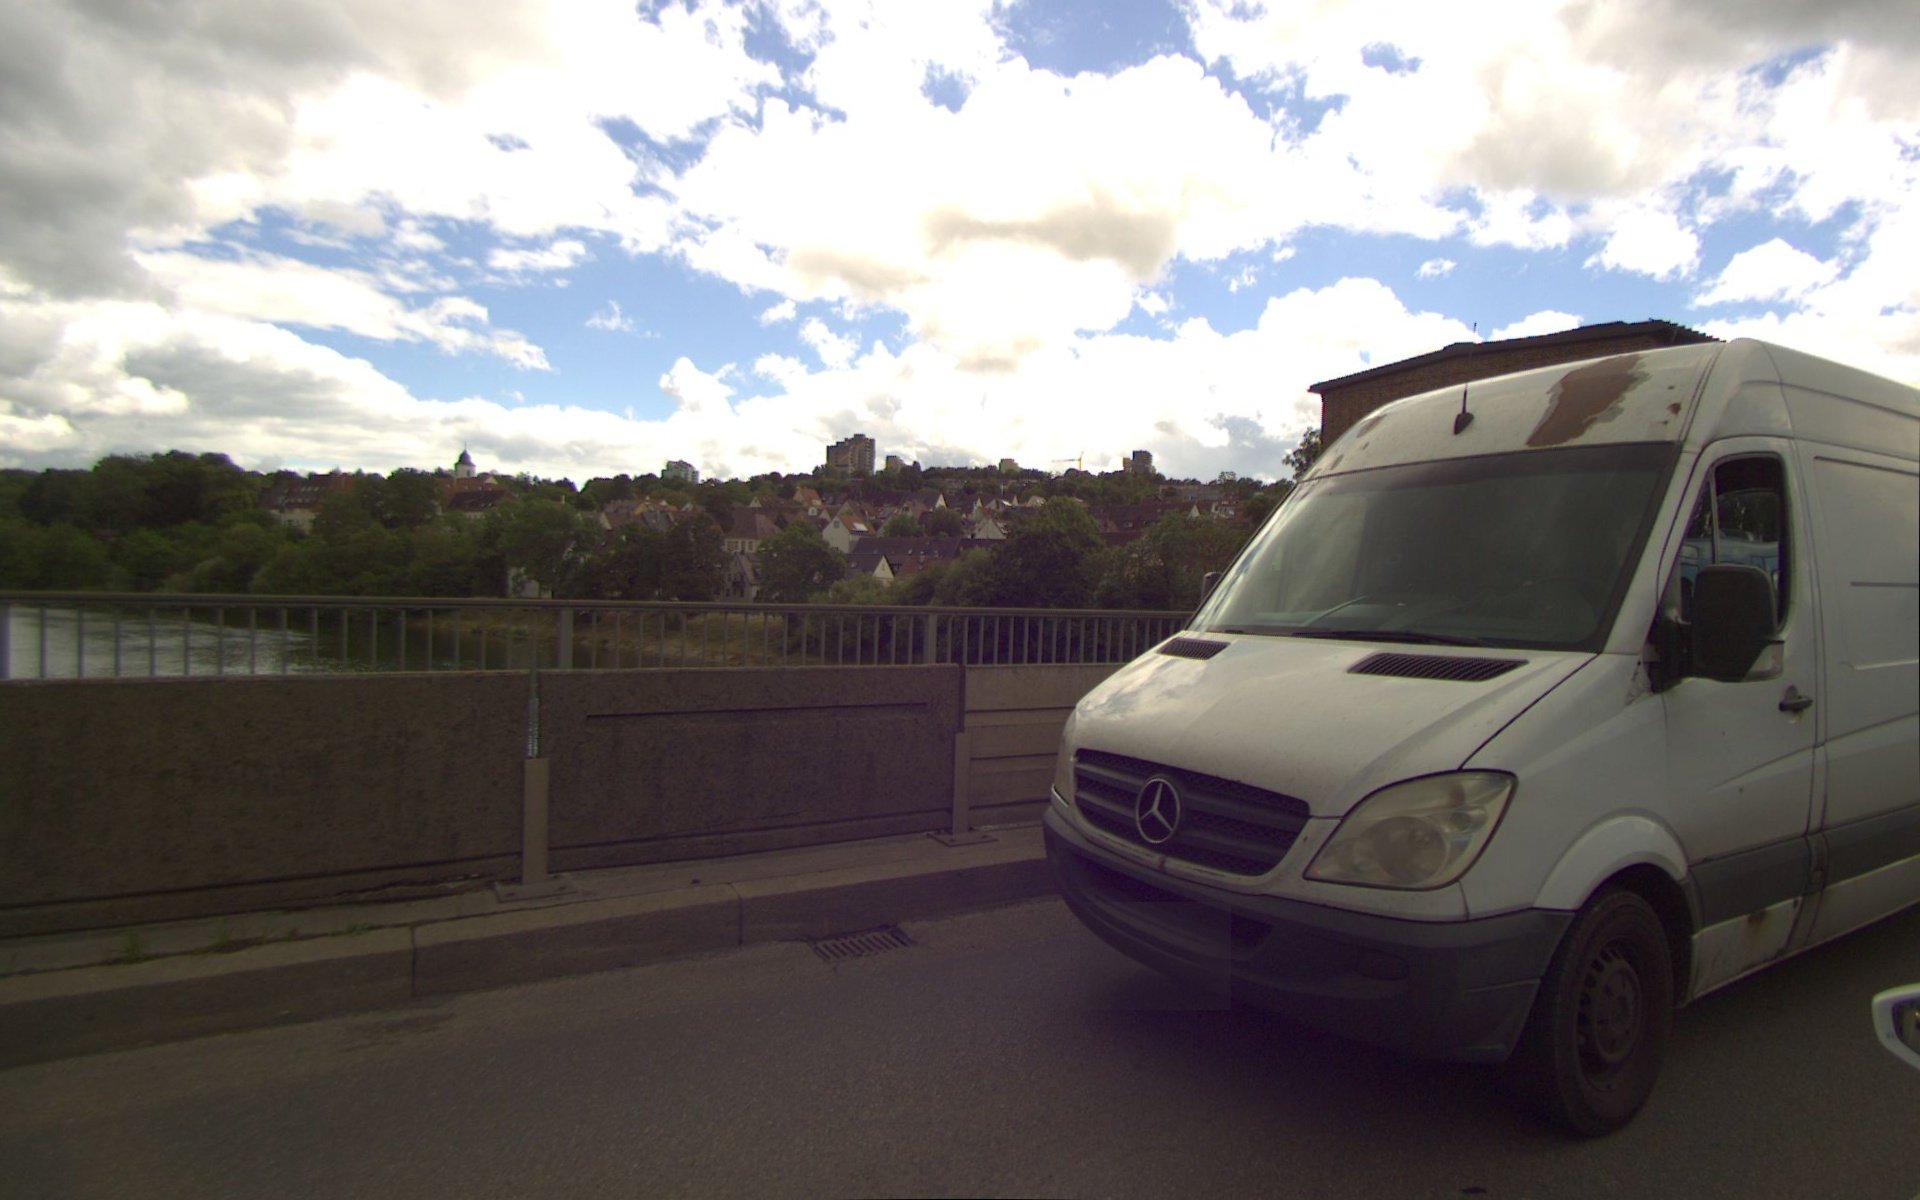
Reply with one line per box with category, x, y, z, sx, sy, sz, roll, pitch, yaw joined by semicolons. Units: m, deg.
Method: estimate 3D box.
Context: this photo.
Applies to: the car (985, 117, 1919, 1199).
car;3.576;0.224;5.009;6.928;2.595;2.023;1;0;-32
